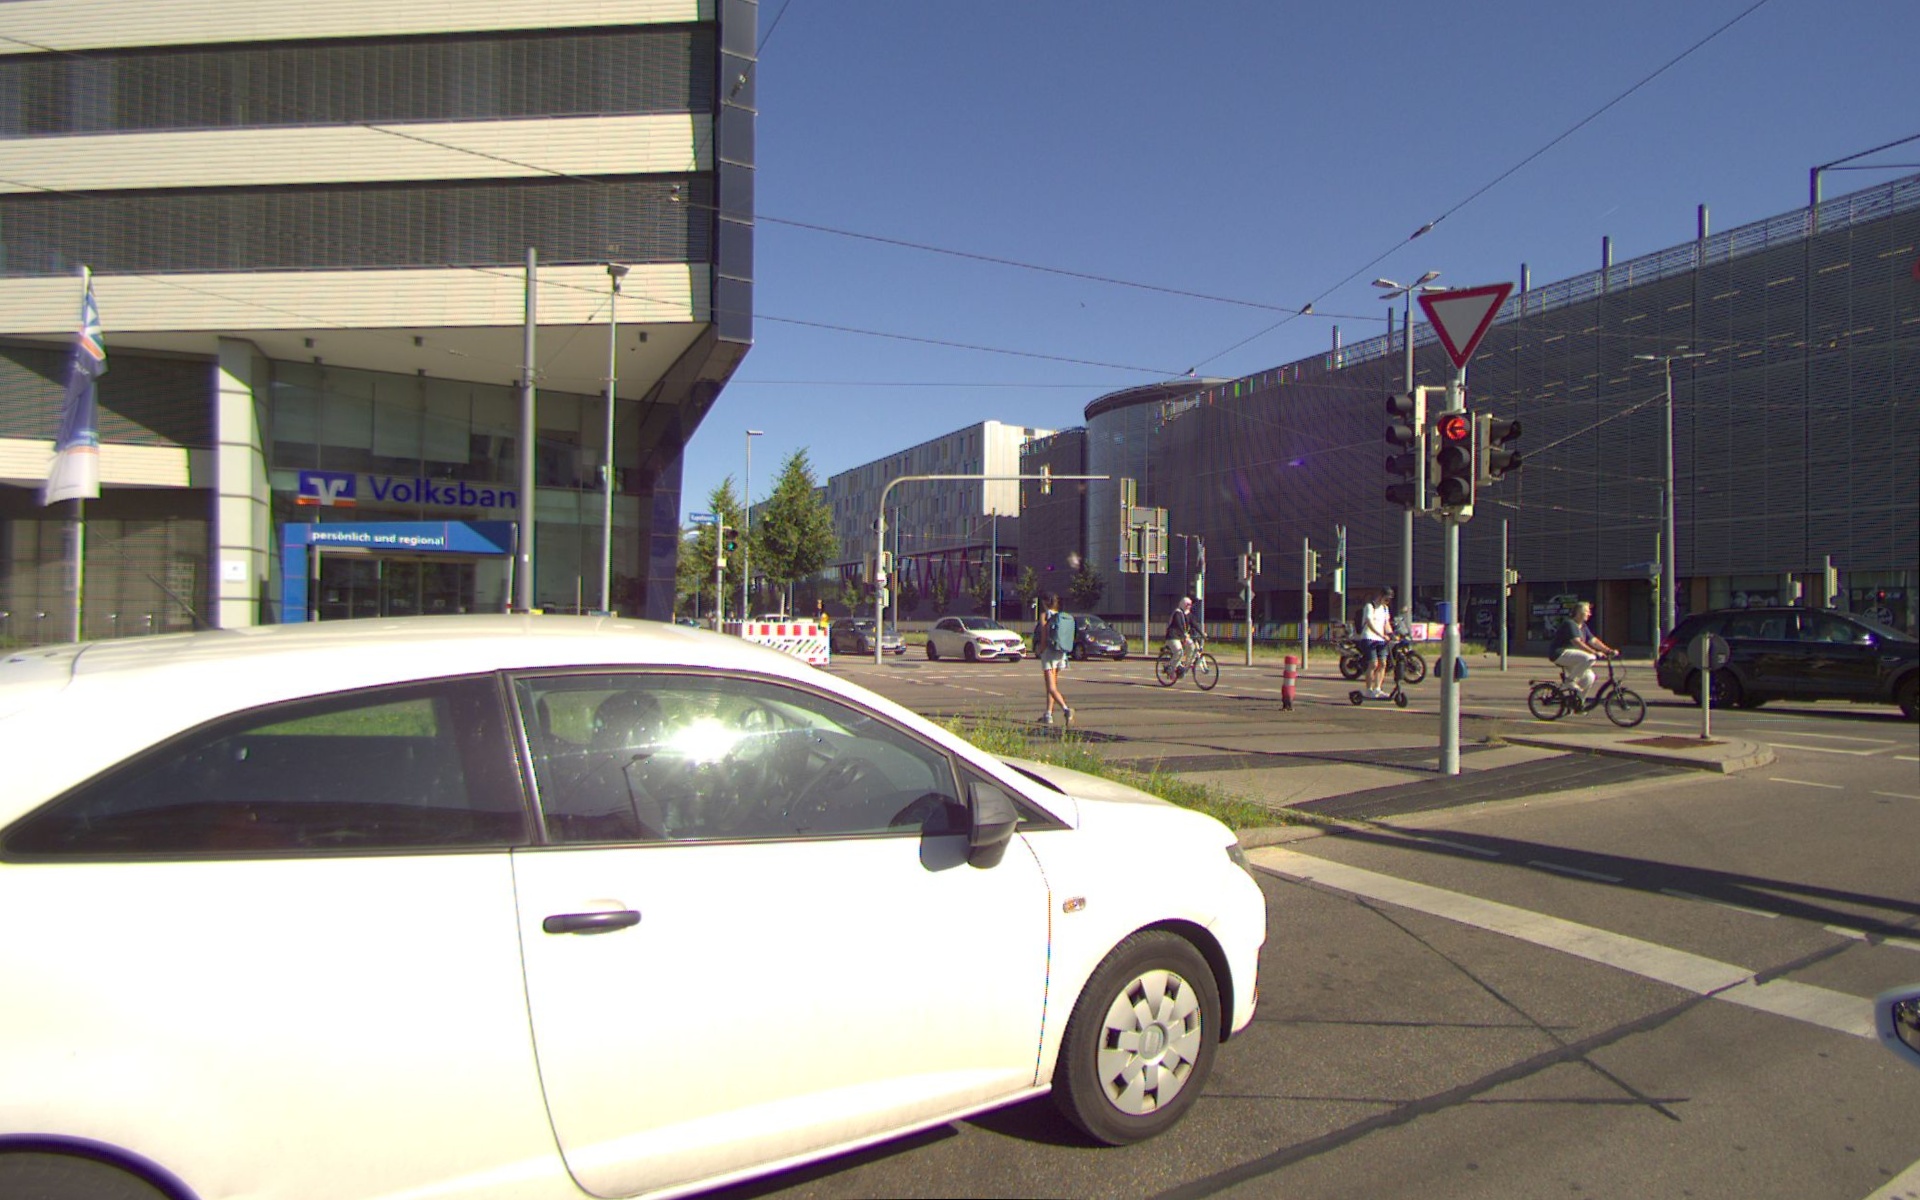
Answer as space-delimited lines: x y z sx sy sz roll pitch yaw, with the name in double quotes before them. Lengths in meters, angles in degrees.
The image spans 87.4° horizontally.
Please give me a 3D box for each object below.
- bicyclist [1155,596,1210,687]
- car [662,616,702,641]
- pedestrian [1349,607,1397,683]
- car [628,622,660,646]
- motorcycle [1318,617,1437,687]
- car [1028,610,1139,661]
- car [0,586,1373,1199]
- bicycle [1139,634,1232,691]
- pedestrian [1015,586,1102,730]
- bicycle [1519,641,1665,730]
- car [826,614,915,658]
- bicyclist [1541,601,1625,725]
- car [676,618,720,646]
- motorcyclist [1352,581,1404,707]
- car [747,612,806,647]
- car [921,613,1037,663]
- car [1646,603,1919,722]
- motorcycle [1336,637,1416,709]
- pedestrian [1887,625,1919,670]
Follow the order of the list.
"bicyclist" 4.529 0.835 20.453 0.755 1.812 0.758 1 -1 -33
"car" -19.469 2.005 70.246 1.824 1.673 4.221 1 -1 -28
"pedestrian" 9.430 1.018 22.946 0.657 1.699 0.740 1 0 -30
"car" -26.219 2.789 83.233 1.919 1.903 3.910 1 -1 -26
"motorcycle" 9.489 1.150 22.946 0.904 1.438 2.430 1 0 -31
"car" 3.967 1.129 32.785 1.800 1.545 3.738 1 -1 -27
"car" -0.785 0.752 2.809 3.738 1.442 1.624 2 1 -30
"bicycle" 4.564 1.238 20.452 0.687 1.050 1.915 1 -1 -32
"pedestrian" 1.235 0.714 12.693 0.704 1.730 0.881 1 -1 -30
"bicycle" 8.701 1.143 13.881 0.726 1.121 1.568 1 -1 -31
"car" -3.640 1.412 40.327 1.976 1.637 4.256 1 -1 -30
"bicyclist" 8.656 0.856 13.973 0.682 1.670 0.778 1 -1 -32
"car" -16.895 2.038 64.607 1.824 1.673 4.221 1 -1 -28
"motorcyclist" 6.953 0.722 16.704 0.491 2.040 0.625 1 -1 -30
"car" -9.444 1.489 51.440 1.824 1.673 4.221 1 -1 -28
"car" 0.523 1.163 31.914 1.890 1.483 4.058 1 -1 -30
"car" 14.103 0.930 16.290 1.820 1.741 4.606 0 0 -34
"motorcycle" 6.920 1.195 16.738 0.477 1.136 1.181 1 -1 -30
"pedestrian" 40.170 2.008 42.700 0.804 1.893 0.906 1 -1 13
